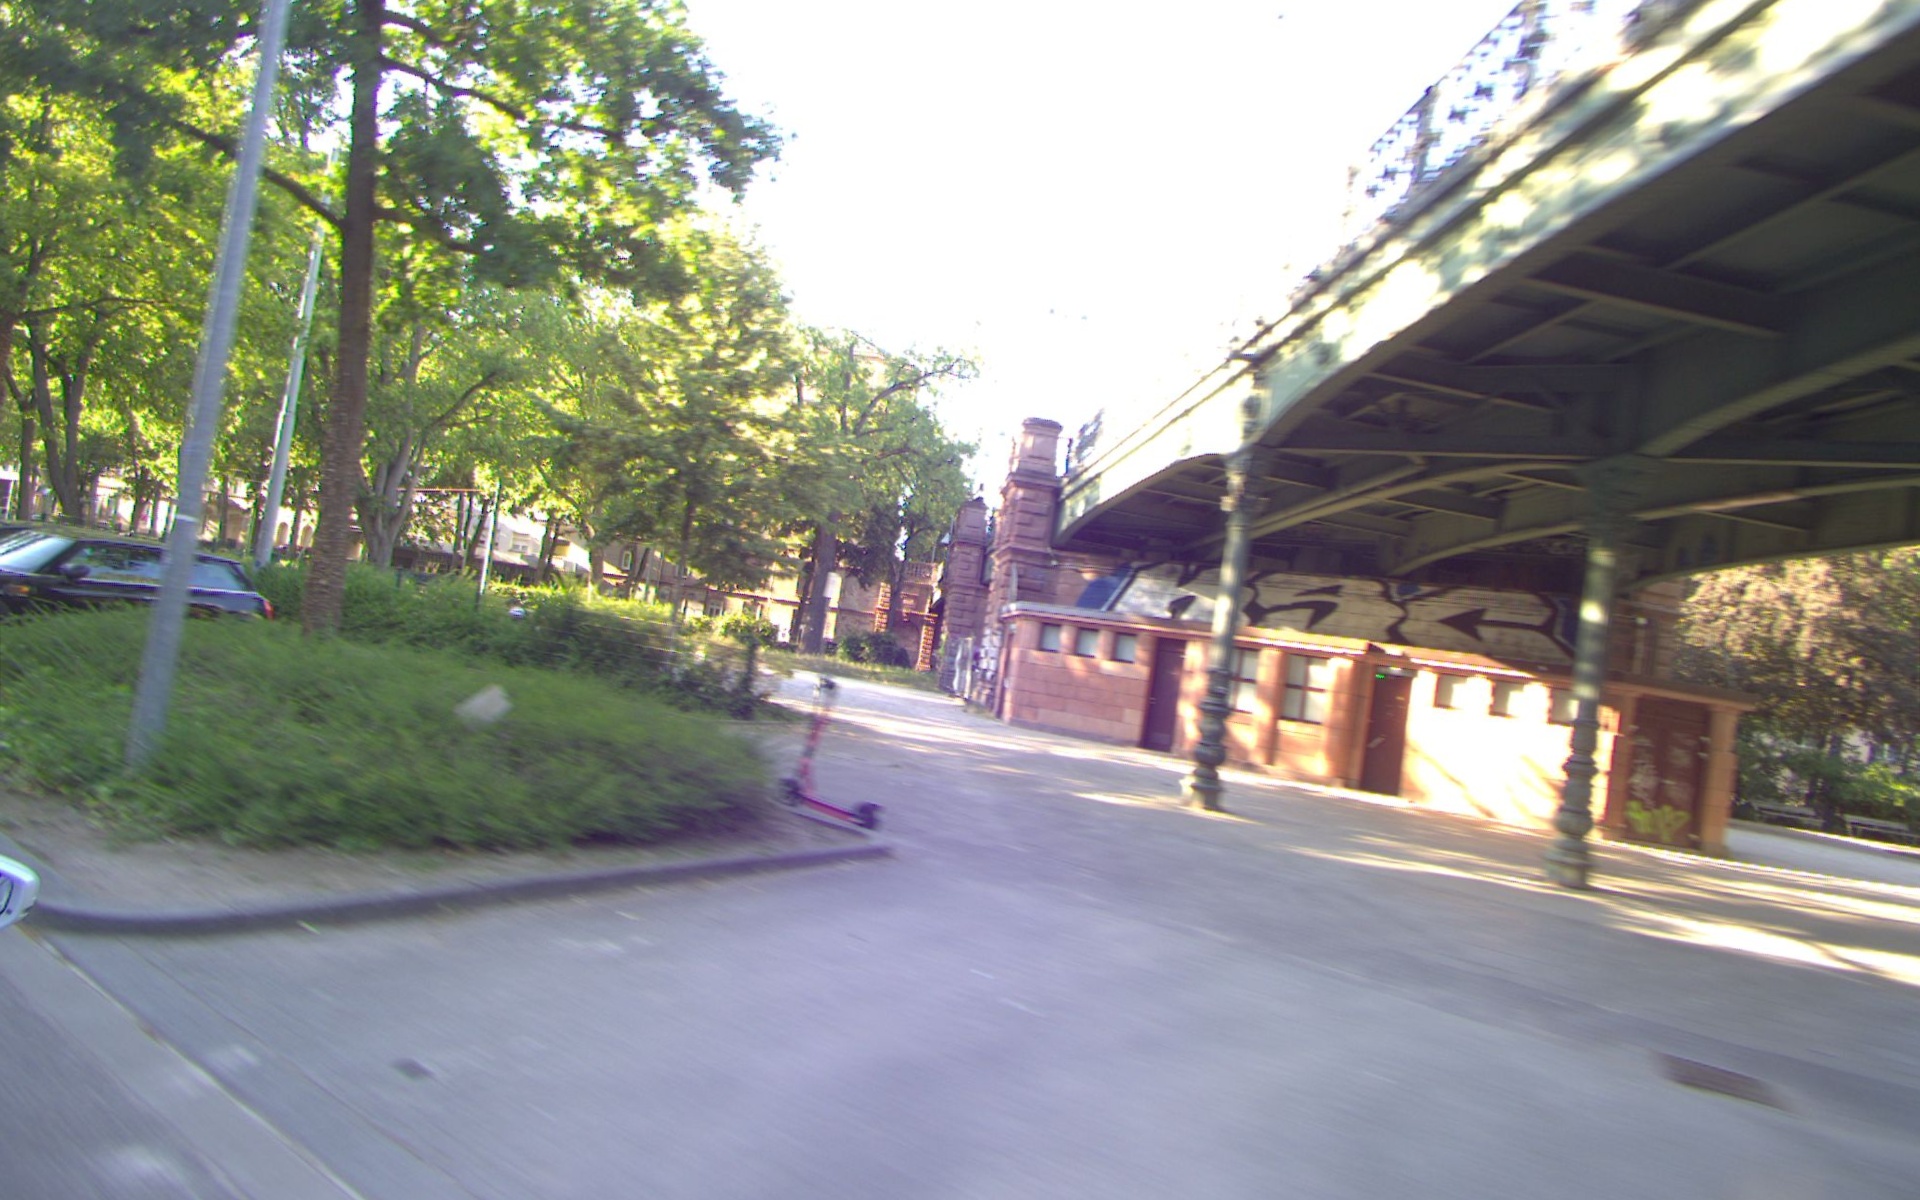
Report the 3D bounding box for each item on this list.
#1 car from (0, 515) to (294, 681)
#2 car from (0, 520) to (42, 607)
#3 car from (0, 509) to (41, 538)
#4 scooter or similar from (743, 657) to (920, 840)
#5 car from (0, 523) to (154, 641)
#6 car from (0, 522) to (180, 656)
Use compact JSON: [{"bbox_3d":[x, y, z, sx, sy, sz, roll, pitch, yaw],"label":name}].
[{"bbox_3d":[-9.619,-0.045,10.729,1.606,1.488,3.796,5,-4,26],"label":"car"},{"bbox_3d":[-17.486,-0.863,15.998,1.735,1.416,3.796,5,-4,26],"label":"car"},{"bbox_3d":[-73.809,-6.104,77.046,4.682,1.700,1.981,12,-6,-37],"label":"car"},{"bbox_3d":[-1.088,1.213,8.438,1.304,1.311,0.478,5,-5,33],"label":"scooter or similar"},{"bbox_3d":[-13.476,-0.385,13.441,1.636,1.416,3.794,5,-4,29],"label":"car"},{"bbox_3d":[-11.895,-0.274,11.840,1.797,1.416,3.792,5,-4,30],"label":"car"}]
